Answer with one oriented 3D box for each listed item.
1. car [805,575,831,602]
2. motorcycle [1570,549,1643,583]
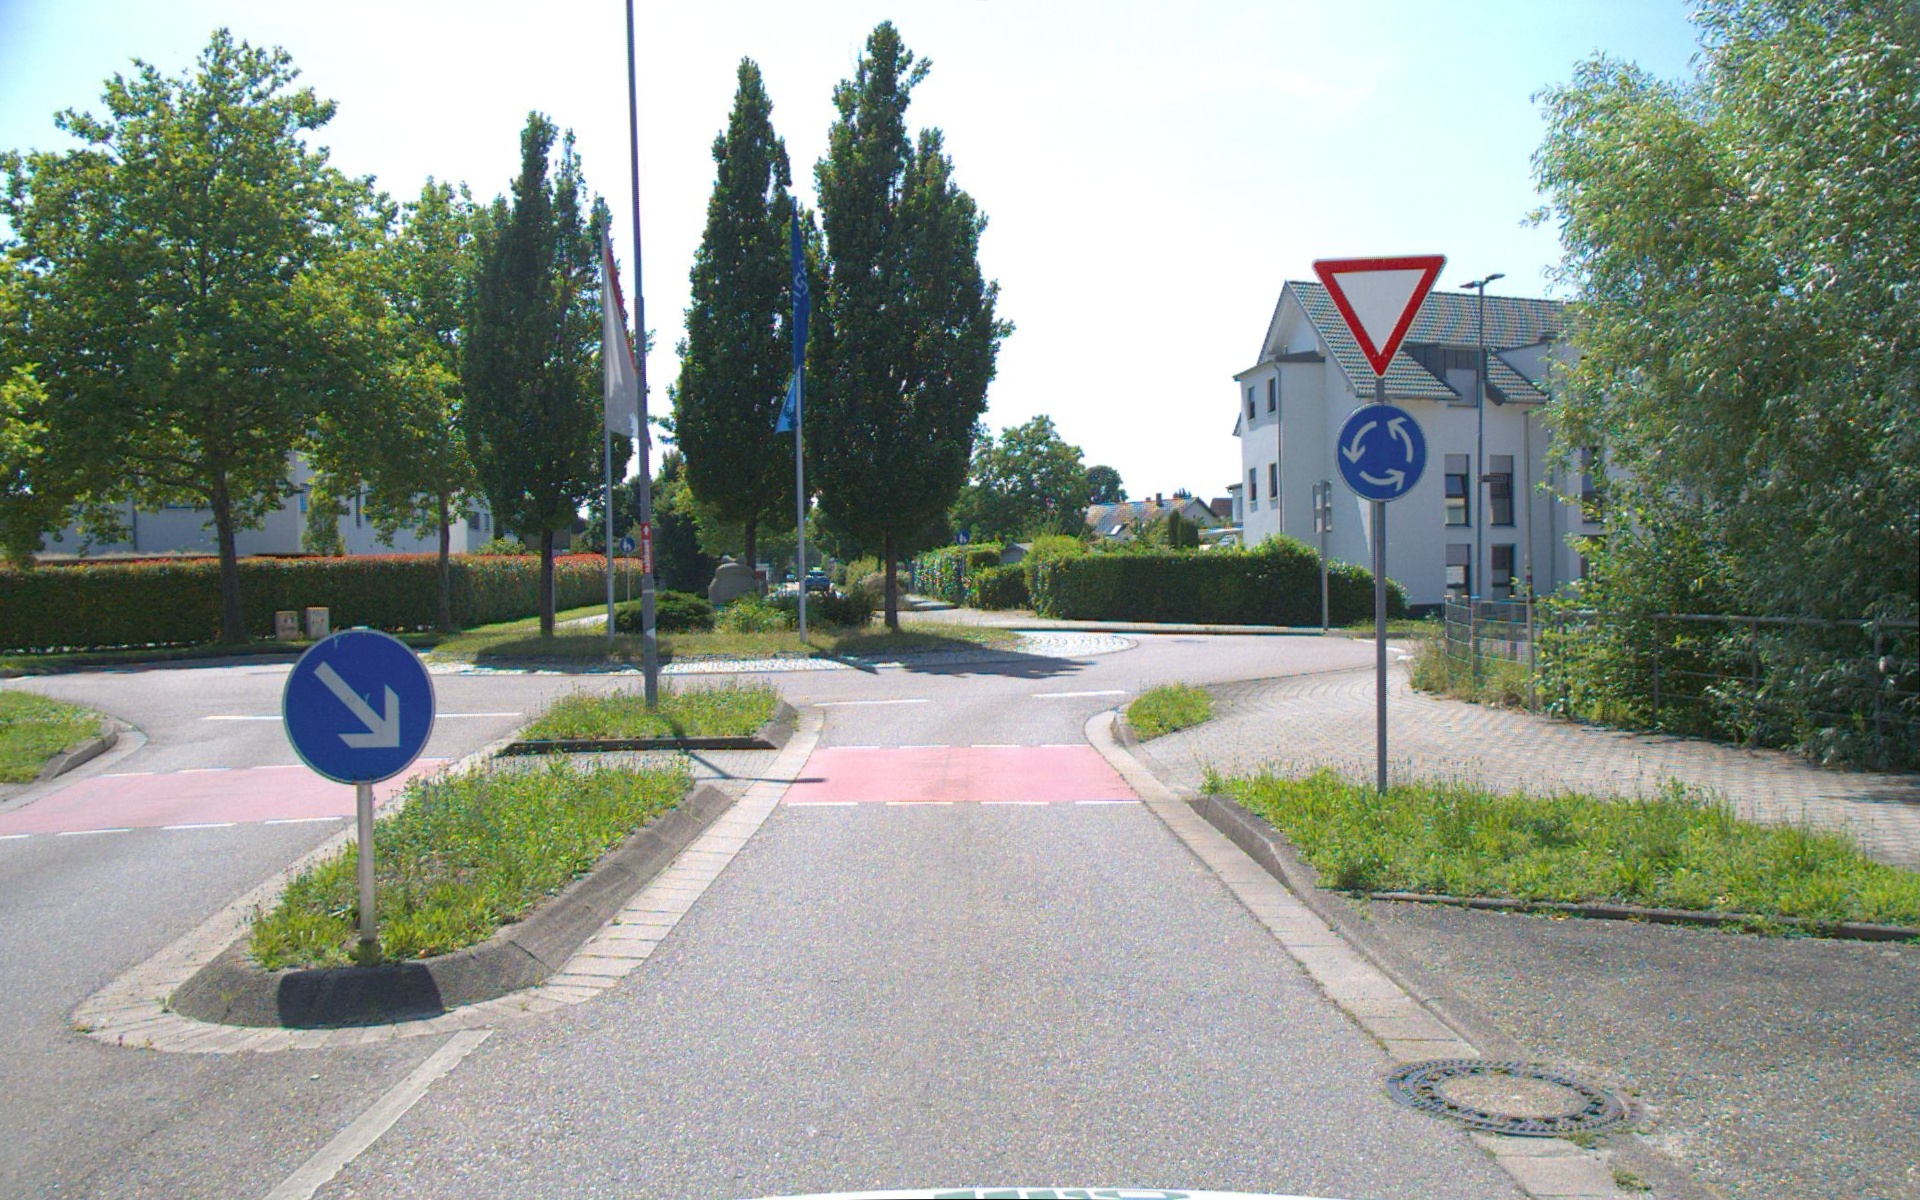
[{"bbox_3d":[-10.343,-0.847,120.213,1.885,1.919,3.996,0,0,-5],"label":"car"},{"bbox_3d":[20.011,-1.048,51.245,0.660,1.031,2.353,1,0,-22],"label":"motorcycle"}]
